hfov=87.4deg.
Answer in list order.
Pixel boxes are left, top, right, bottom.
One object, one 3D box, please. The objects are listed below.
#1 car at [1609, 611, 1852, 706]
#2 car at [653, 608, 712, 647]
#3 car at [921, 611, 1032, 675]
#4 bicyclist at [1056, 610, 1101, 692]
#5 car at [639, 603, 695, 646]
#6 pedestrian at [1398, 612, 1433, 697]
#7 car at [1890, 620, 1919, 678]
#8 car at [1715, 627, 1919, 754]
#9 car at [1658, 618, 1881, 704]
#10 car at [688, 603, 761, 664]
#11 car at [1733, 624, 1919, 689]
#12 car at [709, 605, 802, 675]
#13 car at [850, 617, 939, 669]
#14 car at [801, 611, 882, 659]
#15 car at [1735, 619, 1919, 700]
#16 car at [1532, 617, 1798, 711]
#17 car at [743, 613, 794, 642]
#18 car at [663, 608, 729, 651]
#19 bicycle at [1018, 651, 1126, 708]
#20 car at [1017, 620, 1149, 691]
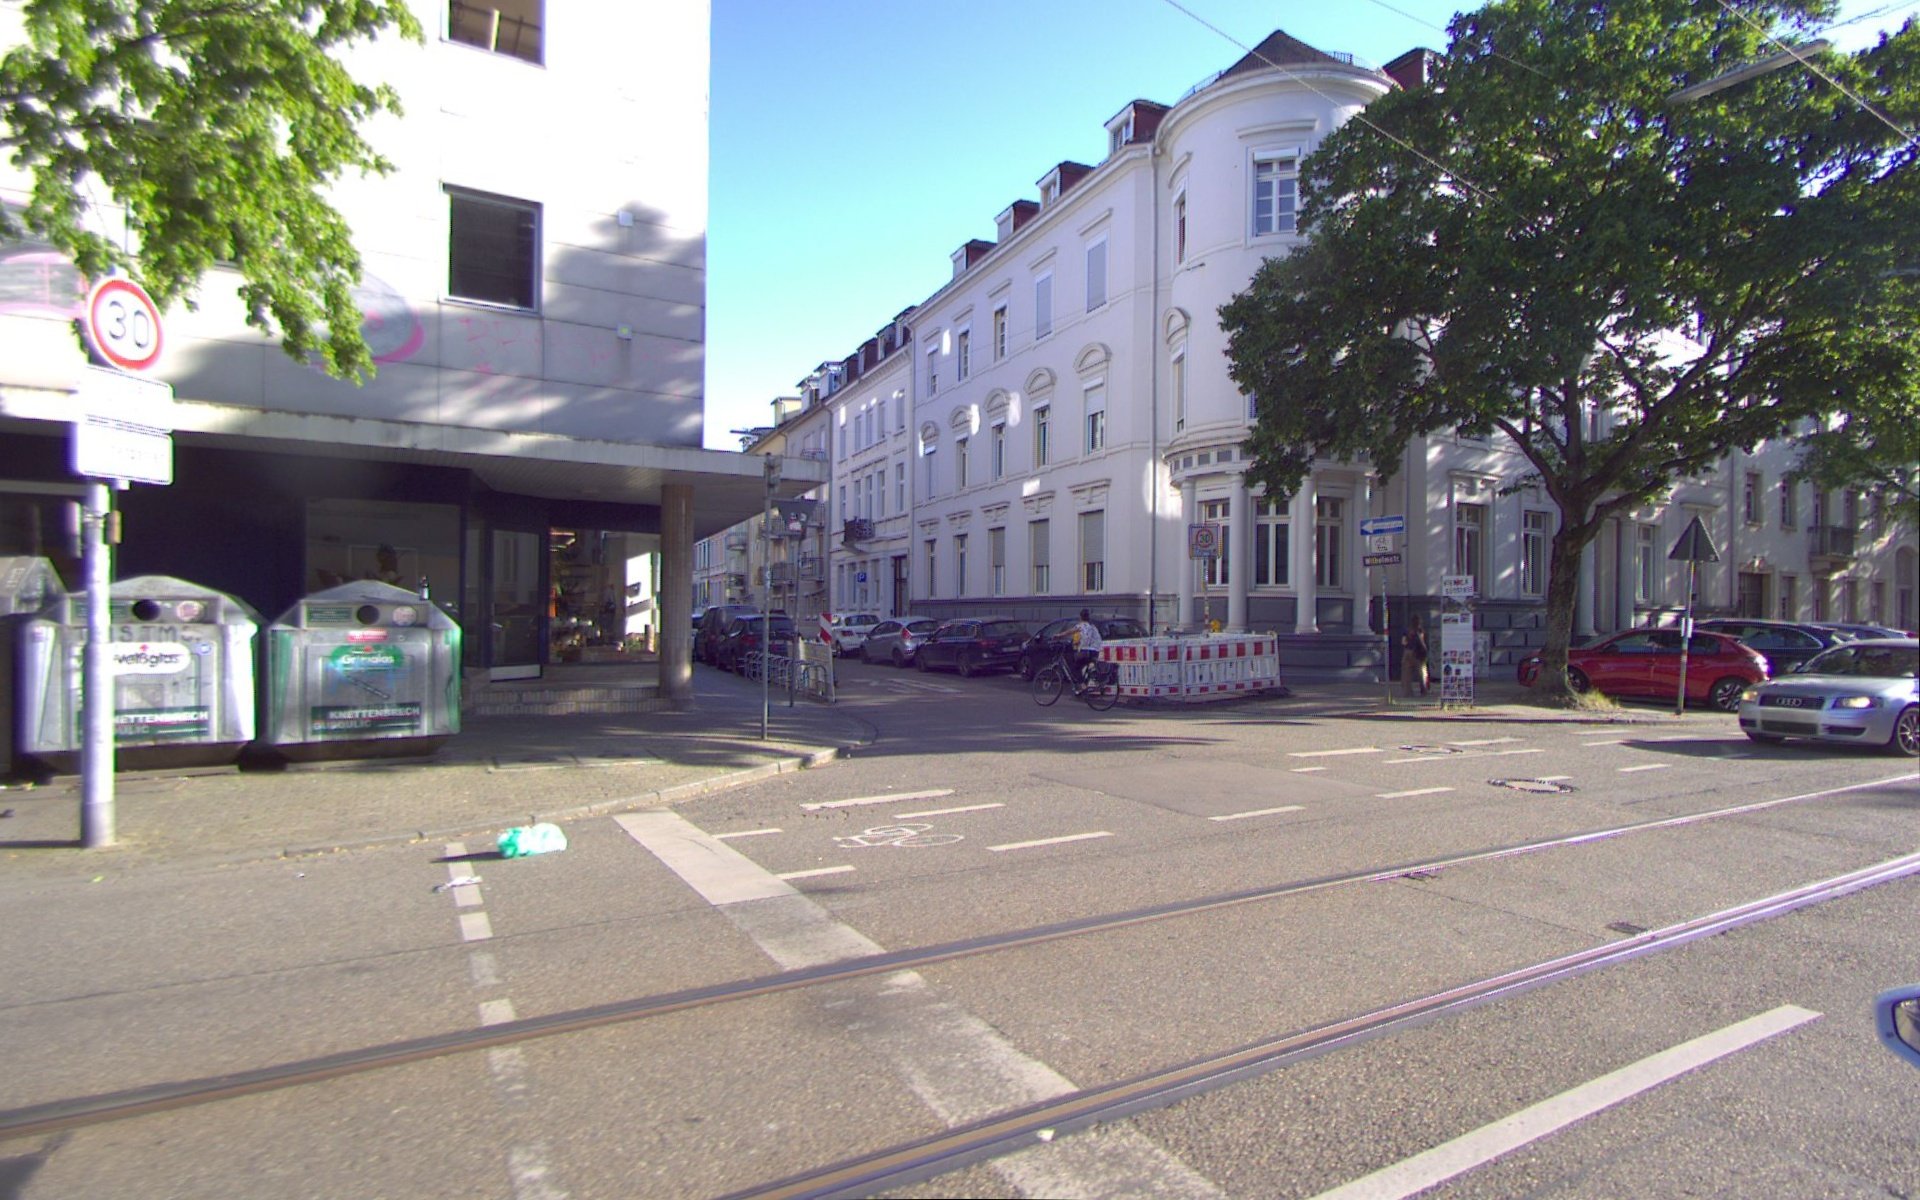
[{"bbox_3d":[15.394,1.122,20.306,3.616,1.744,1.610,0,-1,25],"label":"car"},{"bbox_3d":[-10.930,1.058,39.403,1.727,1.439,3.978,1,-1,-23],"label":"car"},{"bbox_3d":[0.356,1.082,26.644,1.455,1.569,3.747,1,-1,-25],"label":"car"},{"bbox_3d":[2.047,0.869,17.404,0.630,1.396,0.458,0,-1,33],"label":"bicyclist"},{"bbox_3d":[-12.706,1.030,43.435,1.715,1.773,3.974,1,-1,-26],"label":"car"},{"bbox_3d":[8.643,1.024,19.072,0.502,1.593,0.346,1,-1,-5],"label":"pedestrian"},{"bbox_3d":[30.864,1.533,30.142,4.102,1.743,1.580,1,-1,33],"label":"car"},{"bbox_3d":[12.180,1.106,13.154,4.107,1.455,1.707,1,-1,-20],"label":"car"},{"bbox_3d":[17.559,1.276,21.998,3.501,1.684,1.736,0,-1,27],"label":"car"},{"bbox_3d":[-7.441,1.009,31.511,1.584,1.795,3.978,1,-1,-23],"label":"car"},{"bbox_3d":[22.142,1.397,25.595,3.616,1.548,1.482,0,-1,25],"label":"car"},{"bbox_3d":[-5.422,0.995,26.301,1.691,1.605,3.979,1,1,-22],"label":"car"},{"bbox_3d":[-2.093,1.300,31.331,1.507,1.517,3.296,1,-1,-29],"label":"car"},{"bbox_3d":[-4.403,1.244,36.794,1.778,1.638,3.975,1,-1,-25],"label":"car"},{"bbox_3d":[20.463,1.339,23.337,3.616,1.744,1.610,0,-1,25],"label":"car"},{"bbox_3d":[13.067,1.139,18.918,3.841,1.472,1.636,2,0,27],"label":"car"},{"bbox_3d":[-9.664,1.340,50.517,1.714,1.372,3.977,1,-1,-23],"label":"car"},{"bbox_3d":[-9.405,1.022,35.580,1.727,1.439,3.978,1,-1,-23],"label":"car"},{"bbox_3d":[1.928,1.365,17.495,1.869,0.893,0.449,0,-1,34],"label":"bicycle"},{"bbox_3d":[2.686,1.190,22.567,1.455,1.462,3.230,1,-1,-25],"label":"car"}]
